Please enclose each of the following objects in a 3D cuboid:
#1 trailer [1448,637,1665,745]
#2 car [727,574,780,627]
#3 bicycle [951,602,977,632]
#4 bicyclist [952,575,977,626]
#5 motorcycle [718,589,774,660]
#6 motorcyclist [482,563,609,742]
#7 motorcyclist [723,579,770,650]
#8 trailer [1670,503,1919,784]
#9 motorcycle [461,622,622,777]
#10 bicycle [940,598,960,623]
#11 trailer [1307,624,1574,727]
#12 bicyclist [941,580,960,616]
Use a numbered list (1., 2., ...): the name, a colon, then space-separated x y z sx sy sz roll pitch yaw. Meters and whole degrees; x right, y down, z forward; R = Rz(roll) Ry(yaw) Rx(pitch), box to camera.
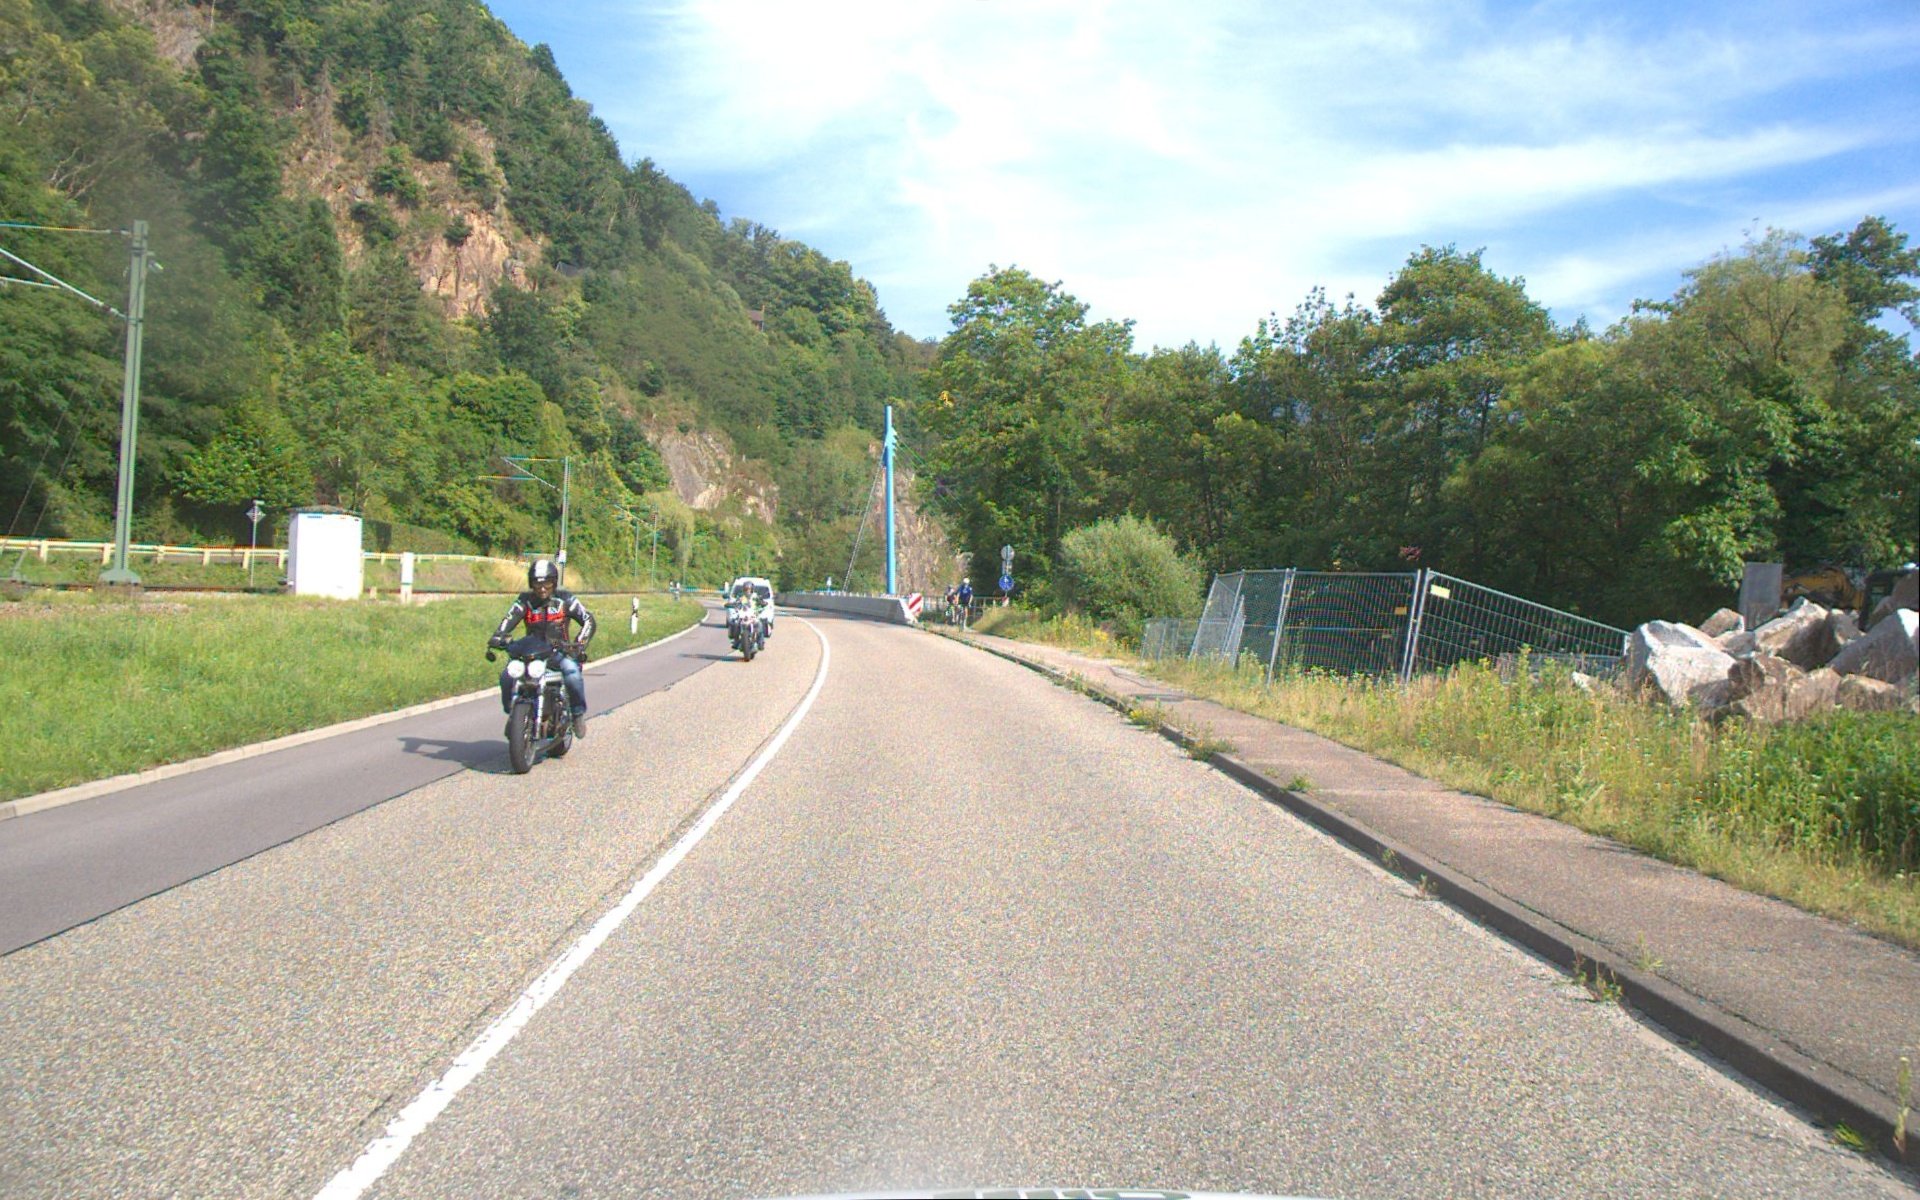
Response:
1. trailer: 11.901 1.769 33.385 2.016 1.854 4.782 3 -1 -9
2. car: -7.540 -0.005 60.698 1.834 1.812 4.593 1 1 -6
3. bicycle: 0.120 0.566 56.270 0.636 0.958 1.845 4 0 -6
4. bicyclist: 0.150 0.012 56.364 0.629 1.682 0.807 4 0 -6
5. motorcycle: -4.489 0.499 34.826 0.844 1.407 2.403 1 1 0
6. motorcyclist: -3.491 0.418 13.990 0.826 1.447 0.964 1 1 -2
7. motorcyclist: -4.481 0.288 34.812 0.841 1.447 0.964 1 1 0
8. trailer: 16.262 0.766 27.840 3.301 4.349 9.894 3 -1 -6
9. motorcycle: -3.507 0.798 14.059 0.844 1.150 2.125 1 1 -1
10. bicycle: -0.418 0.433 67.725 0.588 0.932 1.845 4 0 -6
11. trailer: 11.680 1.743 41.781 2.343 2.049 11.486 3 -1 -5
12. bicyclist: -0.384 -0.074 67.727 0.581 1.425 0.760 4 0 -7
